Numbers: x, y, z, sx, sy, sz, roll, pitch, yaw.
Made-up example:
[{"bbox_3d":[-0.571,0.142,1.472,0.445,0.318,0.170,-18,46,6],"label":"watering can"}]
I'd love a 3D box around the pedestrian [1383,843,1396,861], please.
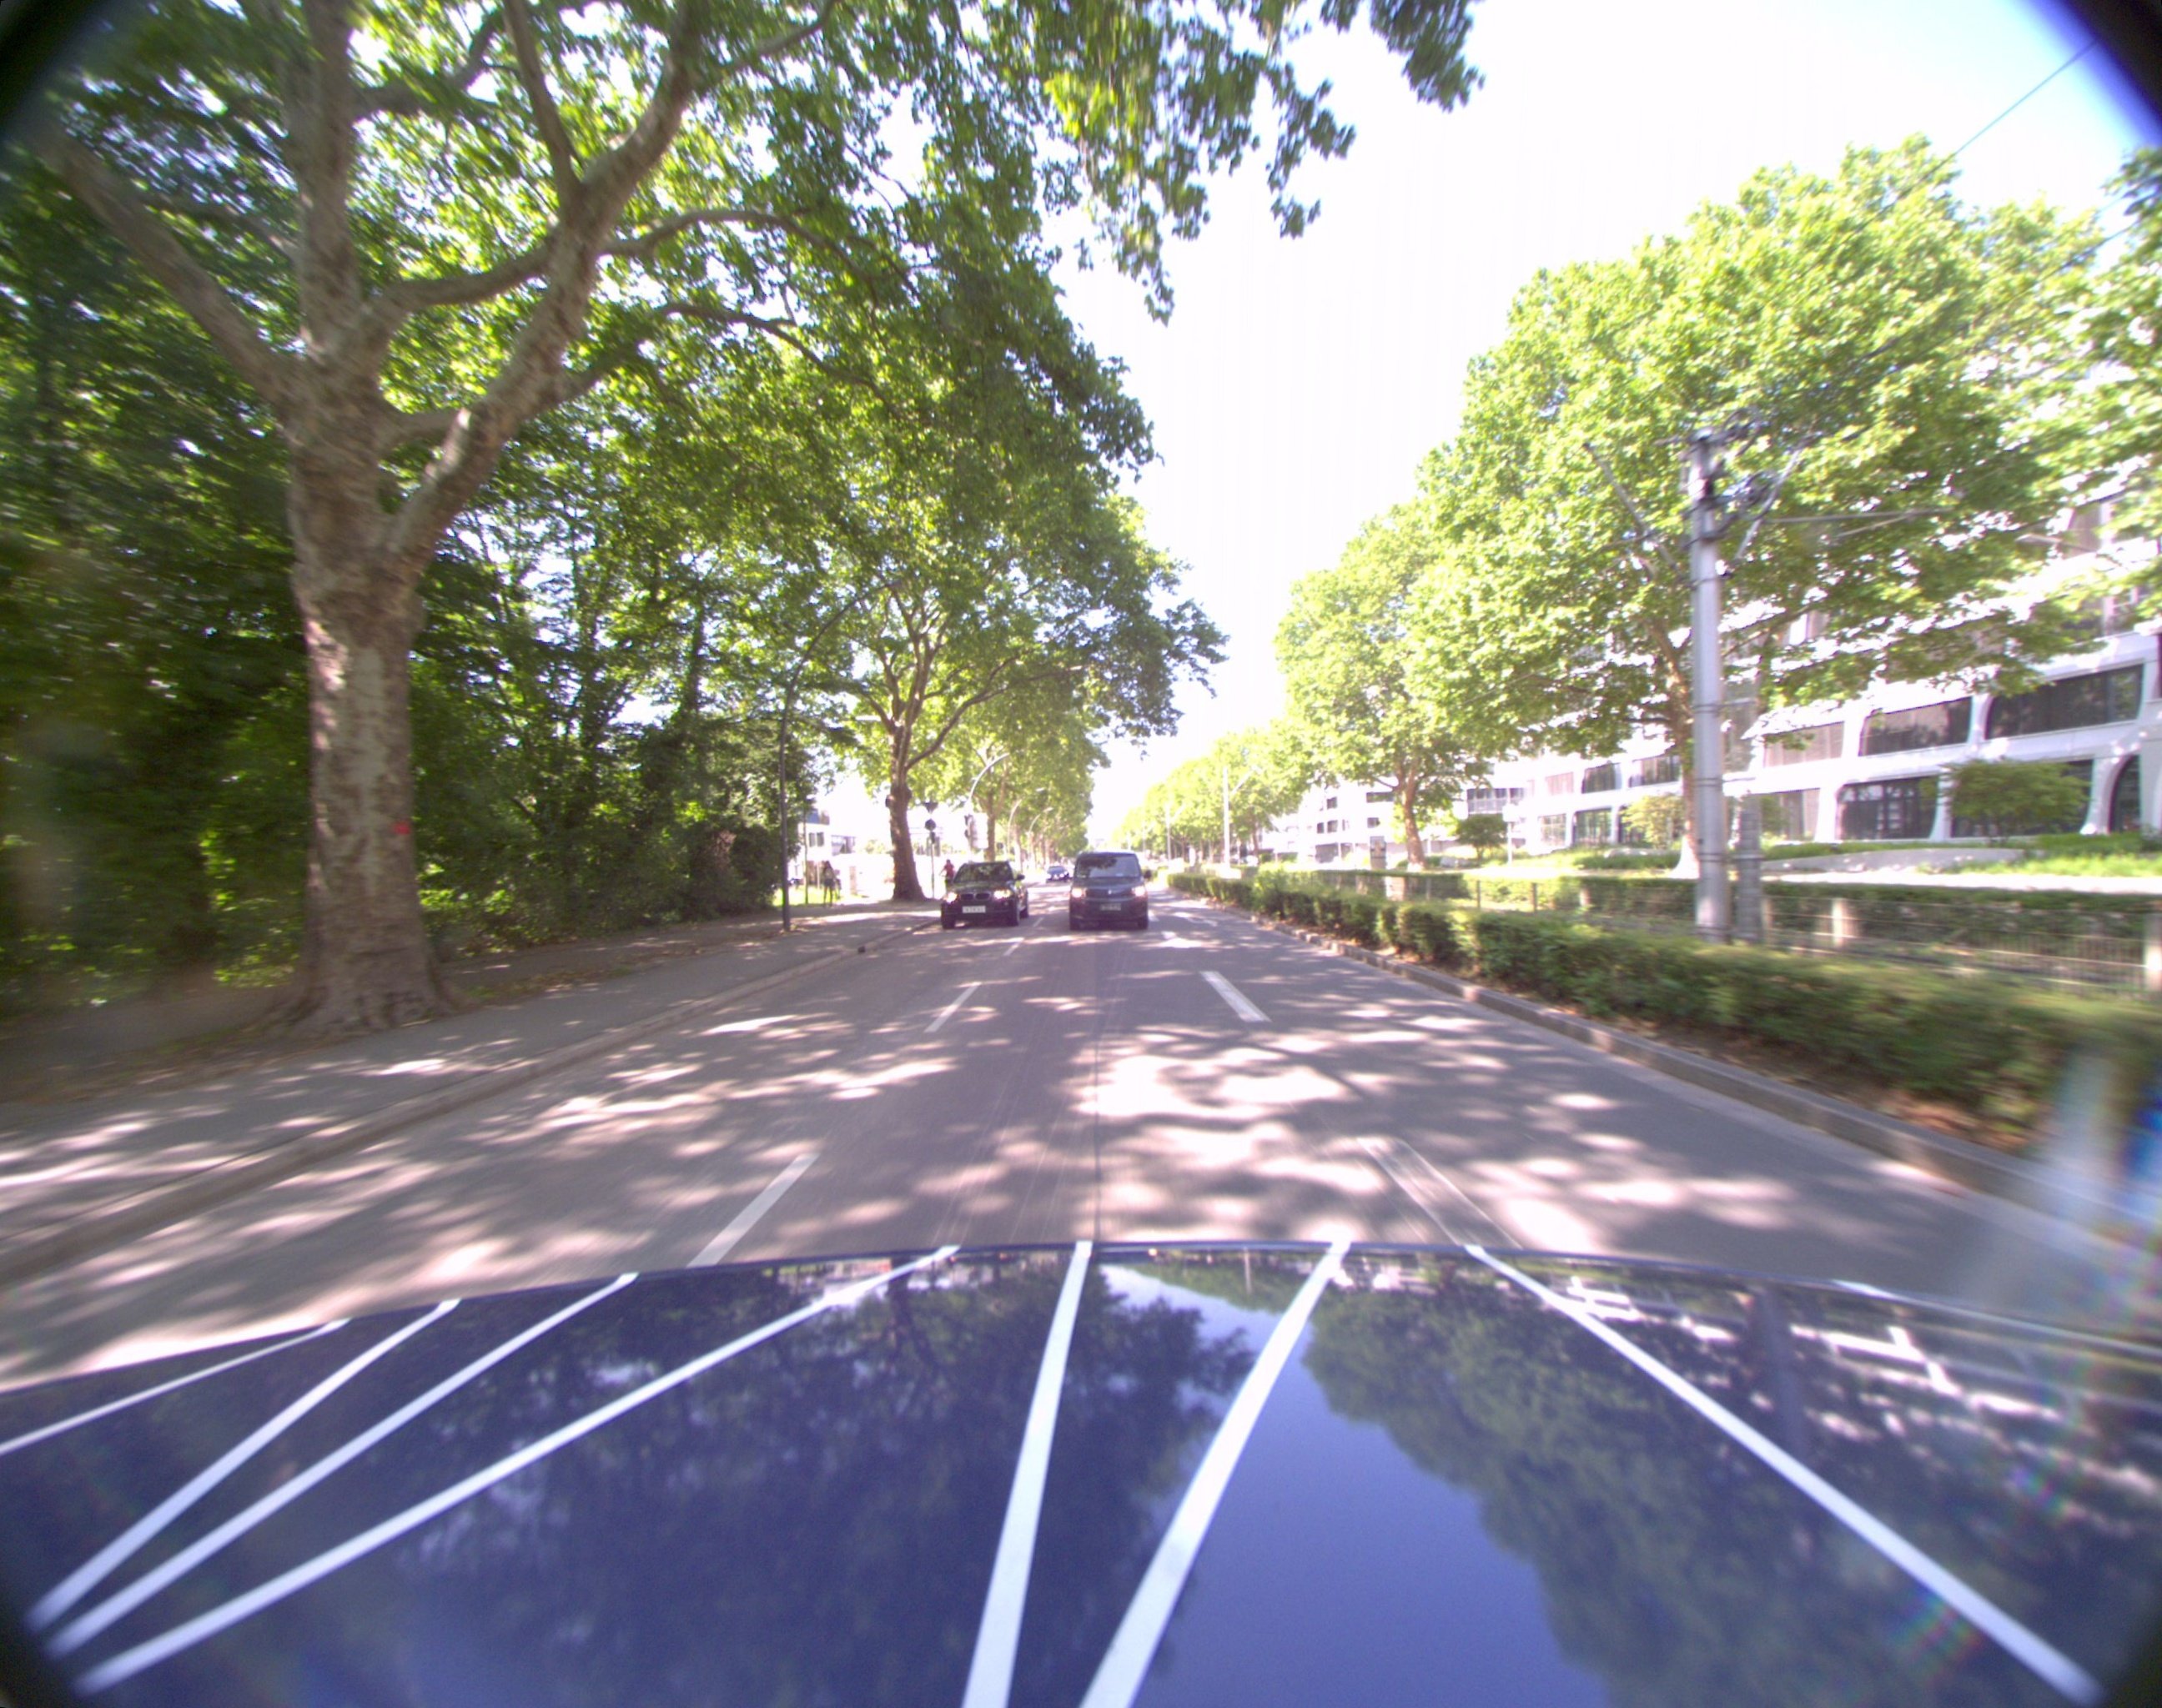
[{"bbox_3d":[26.839,-0.178,66.127,0.722,1.579,1.015,-2,0,2],"label":"pedestrian"}]

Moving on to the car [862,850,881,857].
[{"bbox_3d":[-51.199,-0.047,185.585,3.998,1.500,1.809,-2,0,-2],"label":"car"}]

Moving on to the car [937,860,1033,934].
[{"bbox_3d":[-2.484,1.060,20.684,1.924,1.720,4.152,-2,0,1],"label":"car"}]

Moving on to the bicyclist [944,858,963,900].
[{"bbox_3d":[-4.969,0.963,29.606,0.621,1.590,0.732,0,0,0],"label":"bicyclist"}]

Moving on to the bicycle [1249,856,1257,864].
[{"bbox_3d":[23.685,0.802,104.866,0.665,1.117,2.031,-2,0,2],"label":"bicycle"}]

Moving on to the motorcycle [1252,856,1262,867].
[{"bbox_3d":[19.896,0.874,85.821,0.634,1.168,2.000,-2,0,2],"label":"motorcycle"}]

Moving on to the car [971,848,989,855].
[{"bbox_3d":[-24.696,-0.629,185.768,3.998,1.500,1.809,-2,0,-2],"label":"car"}]

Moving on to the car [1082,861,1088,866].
[{"bbox_3d":[1.364,2.934,240.544,1.860,1.445,4.000,-2,0,0],"label":"car"}]

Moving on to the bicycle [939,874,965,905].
[{"bbox_3d":[-4.972,1.369,29.455,0.653,1.123,1.945,0,0,1],"label":"bicycle"}]

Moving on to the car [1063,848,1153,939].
[{"bbox_3d":[0.627,0.814,17.504,1.789,1.839,4.001,-1,0,2],"label":"car"}]

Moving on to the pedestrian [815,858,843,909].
[{"bbox_3d":[-9.111,1.056,27.514,0.633,1.775,0.874,-2,0,1],"label":"pedestrian"}]

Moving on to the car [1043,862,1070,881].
[{"bbox_3d":[-1.958,1.432,62.662,1.854,1.418,4.152,-2,0,2],"label":"car"}]

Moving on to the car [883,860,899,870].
[{"bbox_3d":[-52.627,3.012,210.155,3.998,2.722,1.809,-2,0,-2],"label":"car"}]

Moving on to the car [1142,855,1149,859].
[{"bbox_3d":[19.817,0.920,233.959,1.820,1.481,3.913,0,0,0],"label":"car"}]

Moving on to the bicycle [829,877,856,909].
[{"bbox_3d":[-8.701,1.411,27.760,0.350,1.075,1.699,-2,0,1],"label":"bicycle"}]

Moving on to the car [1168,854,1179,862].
[{"bbox_3d":[19.730,0.825,162.033,1.761,1.560,4.019,-2,0,2],"label":"car"}]

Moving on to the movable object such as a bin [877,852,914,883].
[{"bbox_3d":[-19.295,1.382,79.248,2.375,3.053,5.985,-2,0,-2],"label":"movable object such as a bin"}]

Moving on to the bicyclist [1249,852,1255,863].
[{"bbox_3d":[23.659,0.434,104.863,0.656,1.526,0.641,-2,0,2],"label":"bicyclist"}]

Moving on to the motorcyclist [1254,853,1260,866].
[{"bbox_3d":[19.877,0.593,85.871,0.582,1.448,0.533,-2,0,2],"label":"motorcyclist"}]
